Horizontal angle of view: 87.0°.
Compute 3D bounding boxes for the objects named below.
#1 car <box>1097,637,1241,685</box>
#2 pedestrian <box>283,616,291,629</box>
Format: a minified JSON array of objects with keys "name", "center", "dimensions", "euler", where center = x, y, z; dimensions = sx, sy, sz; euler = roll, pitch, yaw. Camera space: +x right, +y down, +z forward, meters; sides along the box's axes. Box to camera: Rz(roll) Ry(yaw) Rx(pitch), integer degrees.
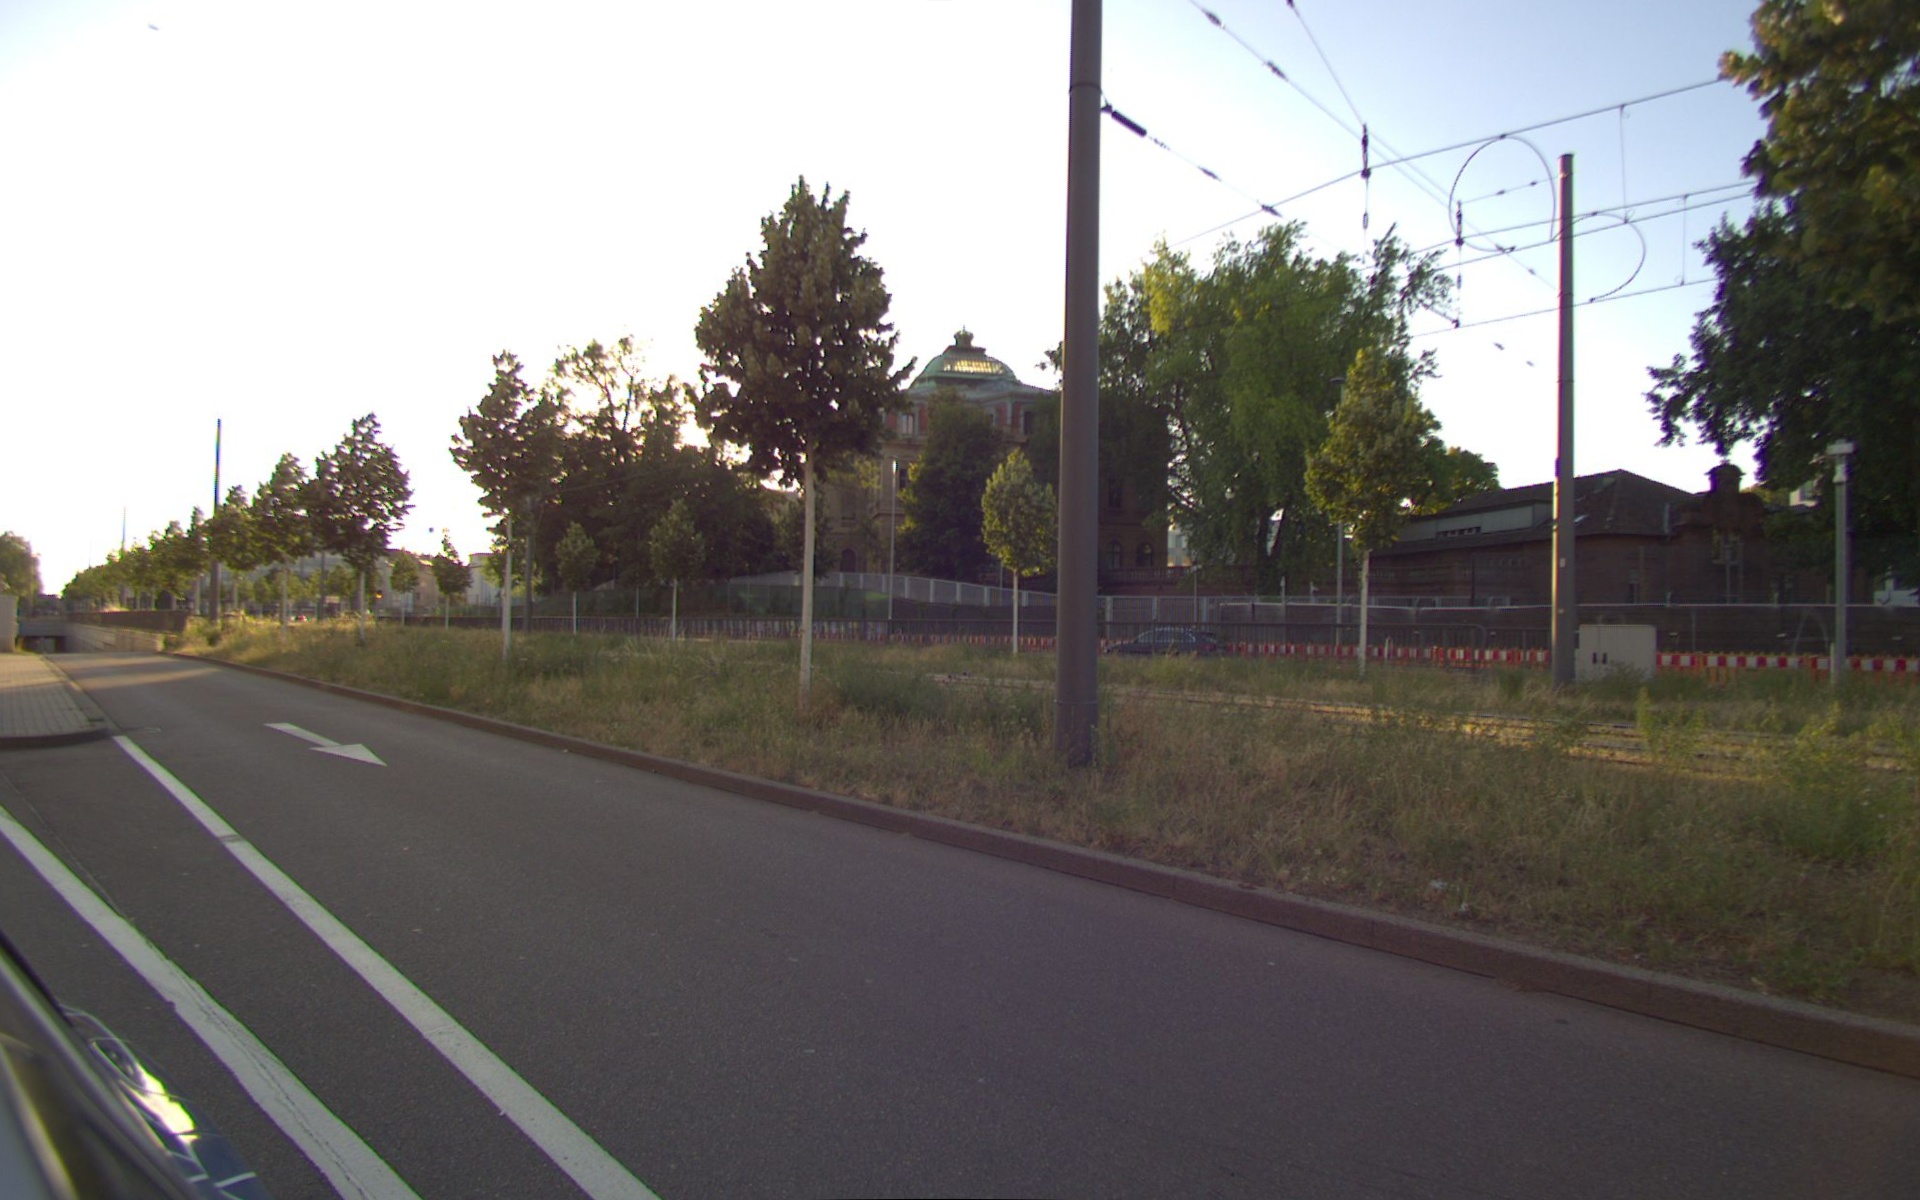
[{"name":"car","center":[7.128,2.070,34.833],"dimensions":[1.910,1.492,4.525],"euler":[0,-2,-44]},{"name":"pedestrian","center":[-94.958,3.175,142.829],"dimensions":[0.837,1.861,0.801],"euler":[-1,-1,41]}]
